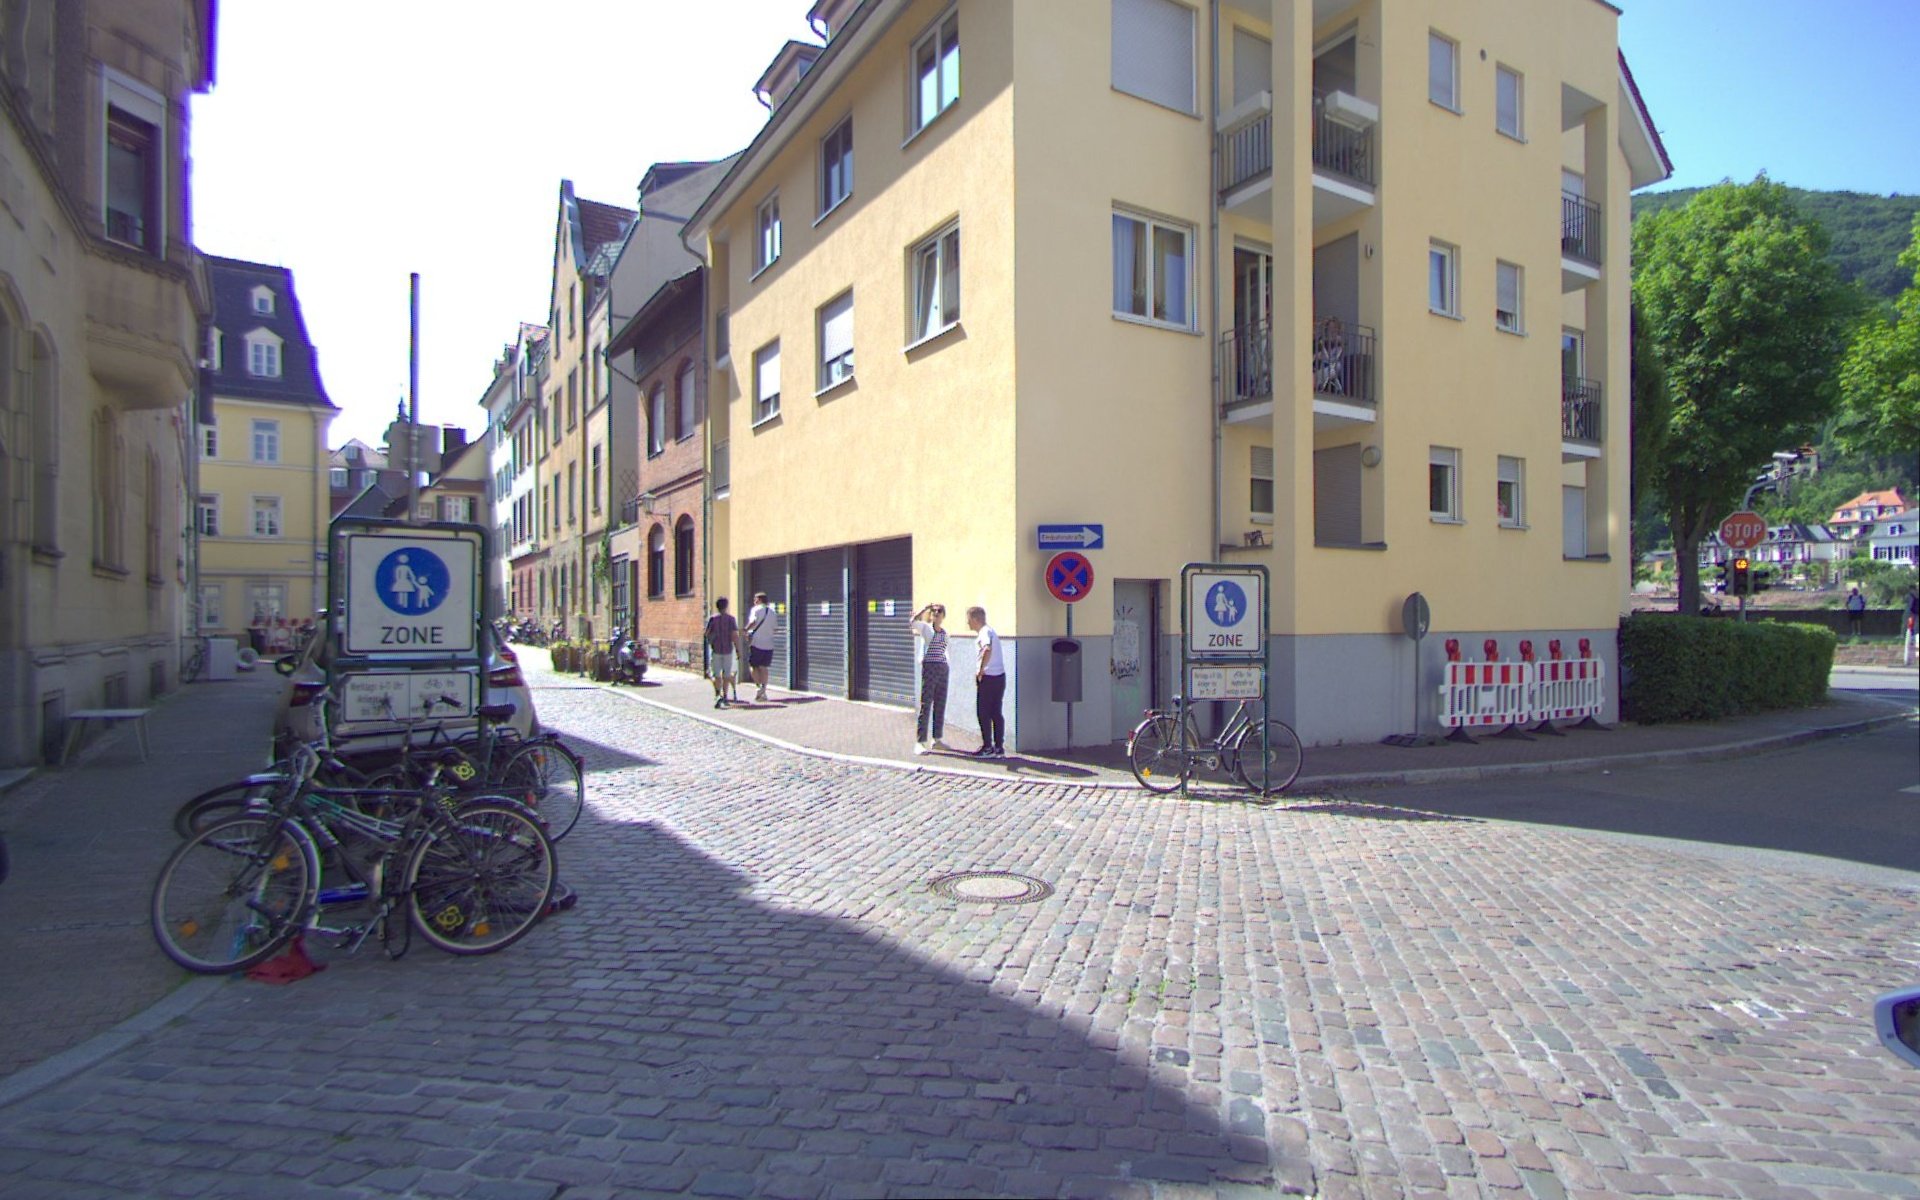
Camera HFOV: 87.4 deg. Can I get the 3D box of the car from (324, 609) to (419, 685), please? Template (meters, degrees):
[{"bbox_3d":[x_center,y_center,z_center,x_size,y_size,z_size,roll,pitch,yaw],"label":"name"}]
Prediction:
[{"bbox_3d":[-12.968,0.981,22.076,1.644,1.462,3.827,2,-1,-32],"label":"car"}]

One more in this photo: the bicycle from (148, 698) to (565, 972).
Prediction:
[{"bbox_3d":[-2.712,1.038,4.656,1.617,1.100,0.284,1,2,-19],"label":"bicycle"}]

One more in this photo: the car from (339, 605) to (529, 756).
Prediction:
[{"bbox_3d":[-6.824,0.887,12.837,1.832,1.564,3.965,2,-1,-32],"label":"car"}]

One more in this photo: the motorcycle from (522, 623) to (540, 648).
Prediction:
[{"bbox_3d":[-17.173,1.428,40.175,0.382,0.958,1.340,4,-2,-34],"label":"motorcycle"}]

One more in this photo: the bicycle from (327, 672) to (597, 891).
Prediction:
[{"bbox_3d":[-3.121,1.085,6.472,0.281,1.100,1.639,-2,0,29],"label":"bicycle"}]

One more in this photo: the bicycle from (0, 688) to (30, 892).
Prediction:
[{"bbox_3d":[-5.053,1.009,4.821,0.491,1.099,1.628,6,-4,-32],"label":"bicycle"}]

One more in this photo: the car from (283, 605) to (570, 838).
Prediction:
[{"bbox_3d":[-4.842,0.857,8.898,1.833,1.564,3.893,1,-1,-33],"label":"car"}]

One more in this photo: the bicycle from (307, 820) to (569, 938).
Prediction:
[{"bbox_3d":[-2.752,1.479,5.469,1.106,0.291,1.074,1,-1,-19],"label":"bicycle"}]

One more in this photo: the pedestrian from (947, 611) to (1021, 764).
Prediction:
[{"bbox_3d":[0.268,0.946,11.152,0.652,1.639,0.487,1,-1,-42],"label":"pedestrian"}]

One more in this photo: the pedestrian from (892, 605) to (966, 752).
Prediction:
[{"bbox_3d":[-0.365,0.878,11.624,0.679,1.639,0.754,0,0,-18],"label":"pedestrian"}]

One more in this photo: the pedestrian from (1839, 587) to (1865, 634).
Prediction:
[{"bbox_3d":[33.691,0.389,37.928,0.752,1.755,0.700,1,-1,-45],"label":"pedestrian"}]

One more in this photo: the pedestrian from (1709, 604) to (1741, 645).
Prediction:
[{"bbox_3d":[28.149,0.910,36.964,1.369,1.499,0.465,1,-1,-31],"label":"pedestrian"}]

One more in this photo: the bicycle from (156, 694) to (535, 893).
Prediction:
[{"bbox_3d":[-3.366,1.034,5.574,1.631,1.085,0.286,2,42,-44],"label":"bicycle"}]

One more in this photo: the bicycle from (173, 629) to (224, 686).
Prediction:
[{"bbox_3d":[-16.013,1.185,21.146,0.476,1.113,1.596,1,-1,-24],"label":"bicycle"}]

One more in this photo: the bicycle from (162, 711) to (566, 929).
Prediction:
[{"bbox_3d":[-3.042,1.099,5.205,1.631,1.085,0.286,2,42,-44],"label":"bicycle"}]

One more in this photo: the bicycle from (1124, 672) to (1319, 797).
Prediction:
[{"bbox_3d":[2.522,1.265,9.660,1.878,1.093,0.390,0,-1,-16],"label":"bicycle"}]

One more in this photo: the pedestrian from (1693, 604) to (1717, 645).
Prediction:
[{"bbox_3d":[27.660,0.893,37.298,0.795,1.513,0.465,1,-1,-31],"label":"pedestrian"}]

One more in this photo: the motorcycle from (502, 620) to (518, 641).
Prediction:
[{"bbox_3d":[-21.205,1.439,47.280,0.382,0.958,1.556,4,-2,-34],"label":"motorcycle"}]

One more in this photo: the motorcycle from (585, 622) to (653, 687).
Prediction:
[{"bbox_3d":[-7.375,1.151,21.642,0.591,1.265,2.456,4,-2,-37],"label":"motorcycle"}]

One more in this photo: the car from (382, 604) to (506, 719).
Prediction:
[{"bbox_3d":[-8.650,0.925,16.685,1.551,1.657,3.828,2,-1,-31],"label":"car"}]

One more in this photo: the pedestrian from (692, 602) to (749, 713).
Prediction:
[{"bbox_3d":[-3.984,0.939,16.688,0.612,1.768,0.855,4,0,-31],"label":"pedestrian"}]

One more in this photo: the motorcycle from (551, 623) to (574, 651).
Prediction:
[{"bbox_3d":[-14.256,1.330,35.981,0.383,0.958,1.339,4,-2,-37],"label":"motorcycle"}]

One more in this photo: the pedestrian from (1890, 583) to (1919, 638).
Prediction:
[{"bbox_3d":[32.693,0.358,34.680,0.753,1.882,0.754,0,-1,38],"label":"pedestrian"}]

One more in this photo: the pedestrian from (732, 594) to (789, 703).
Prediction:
[{"bbox_3d":[-3.394,0.806,17.046,0.612,1.768,0.855,4,0,-31],"label":"pedestrian"}]

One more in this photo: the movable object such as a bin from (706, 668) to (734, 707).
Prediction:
[{"bbox_3d":[-4.109,1.483,17.167,0.296,0.571,1.237,0,-1,-21],"label":"movable object such as a bin"}]
